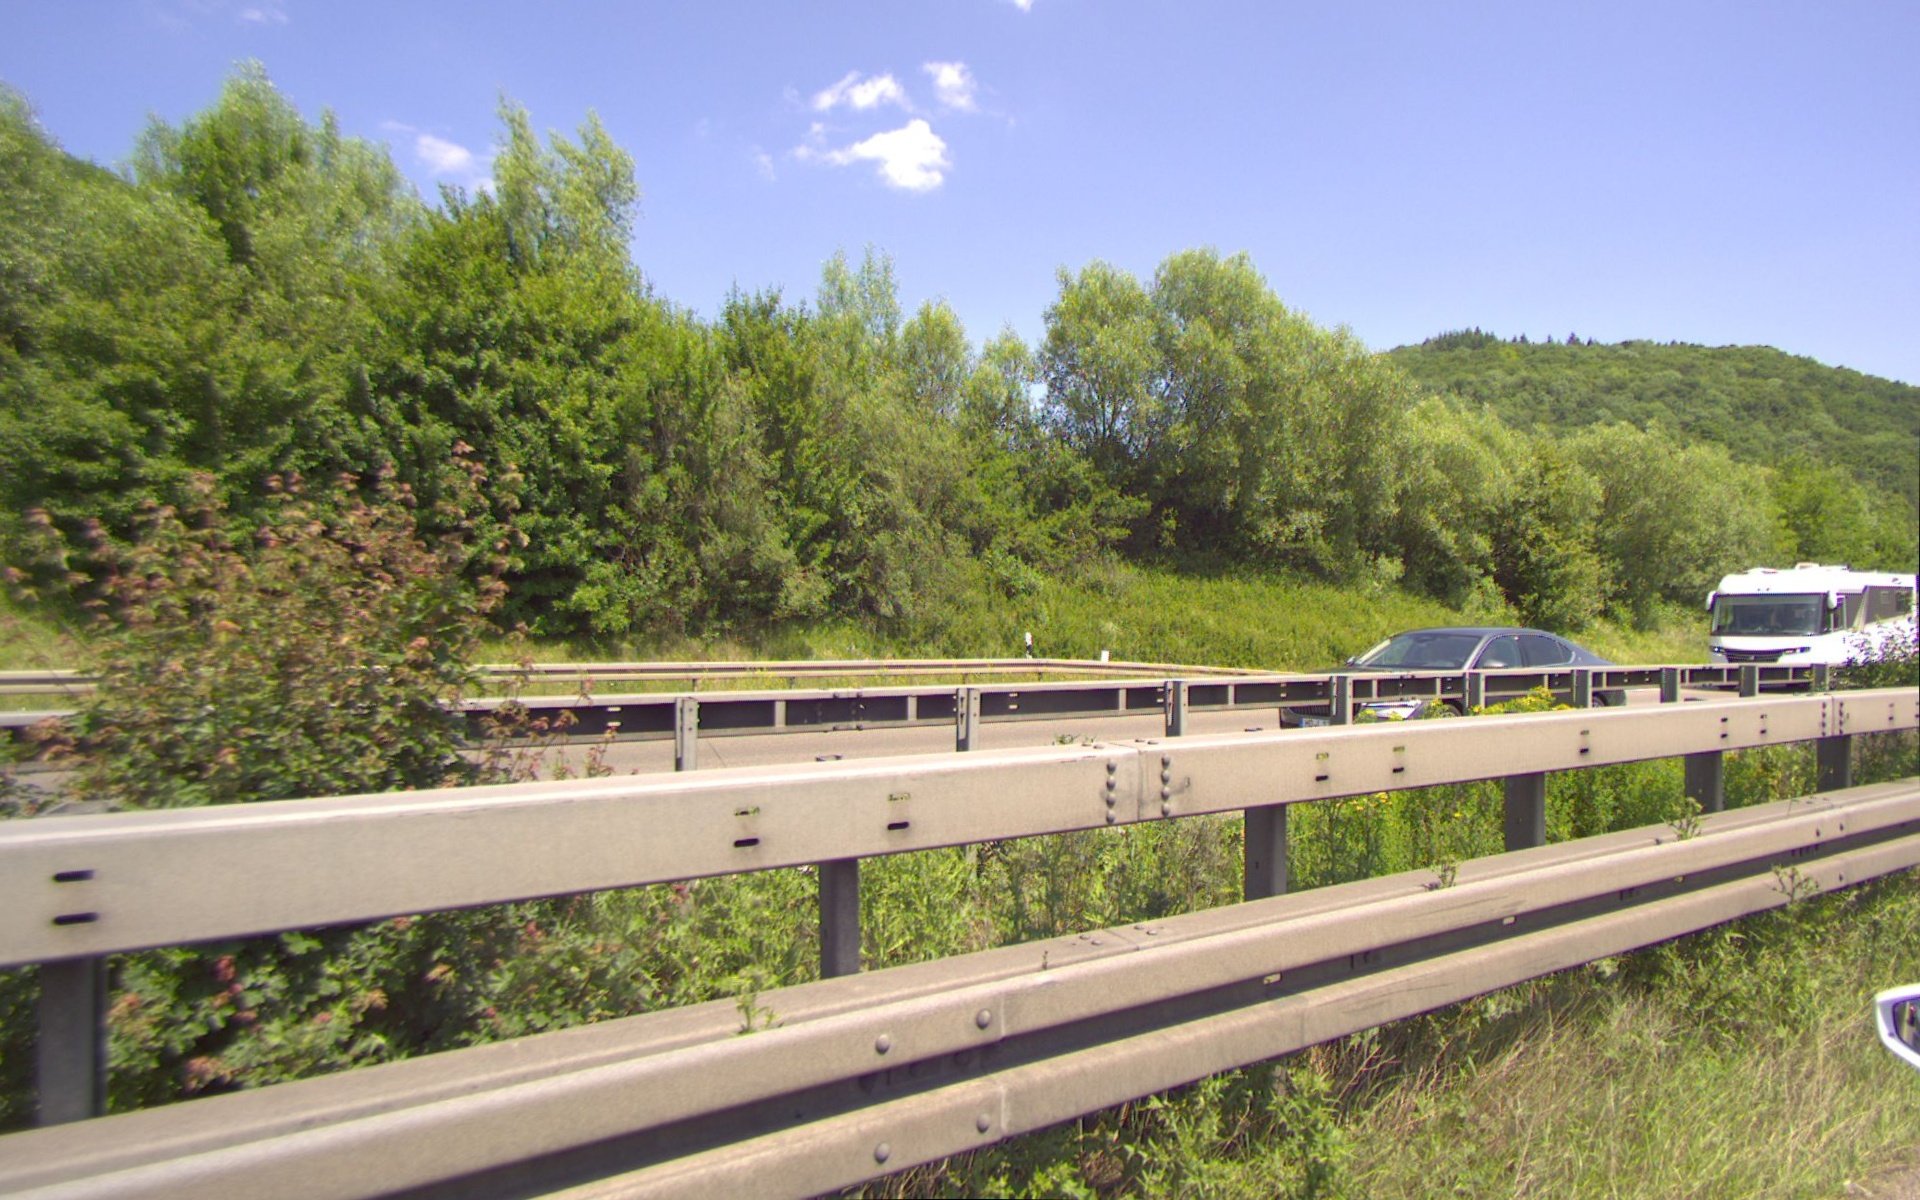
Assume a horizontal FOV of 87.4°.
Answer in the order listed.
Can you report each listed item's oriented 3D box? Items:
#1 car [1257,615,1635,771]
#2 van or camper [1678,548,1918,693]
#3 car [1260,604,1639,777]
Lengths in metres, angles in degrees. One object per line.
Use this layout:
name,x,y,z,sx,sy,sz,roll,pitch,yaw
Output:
car,5.695,0.954,11.607,4.485,1.483,1.788,1,-1,-31
van or camper,22.150,0.561,26.430,7.561,3.380,2.577,1,-1,-31
car,5.723,0.924,11.603,4.438,1.673,1.767,1,-1,-30
